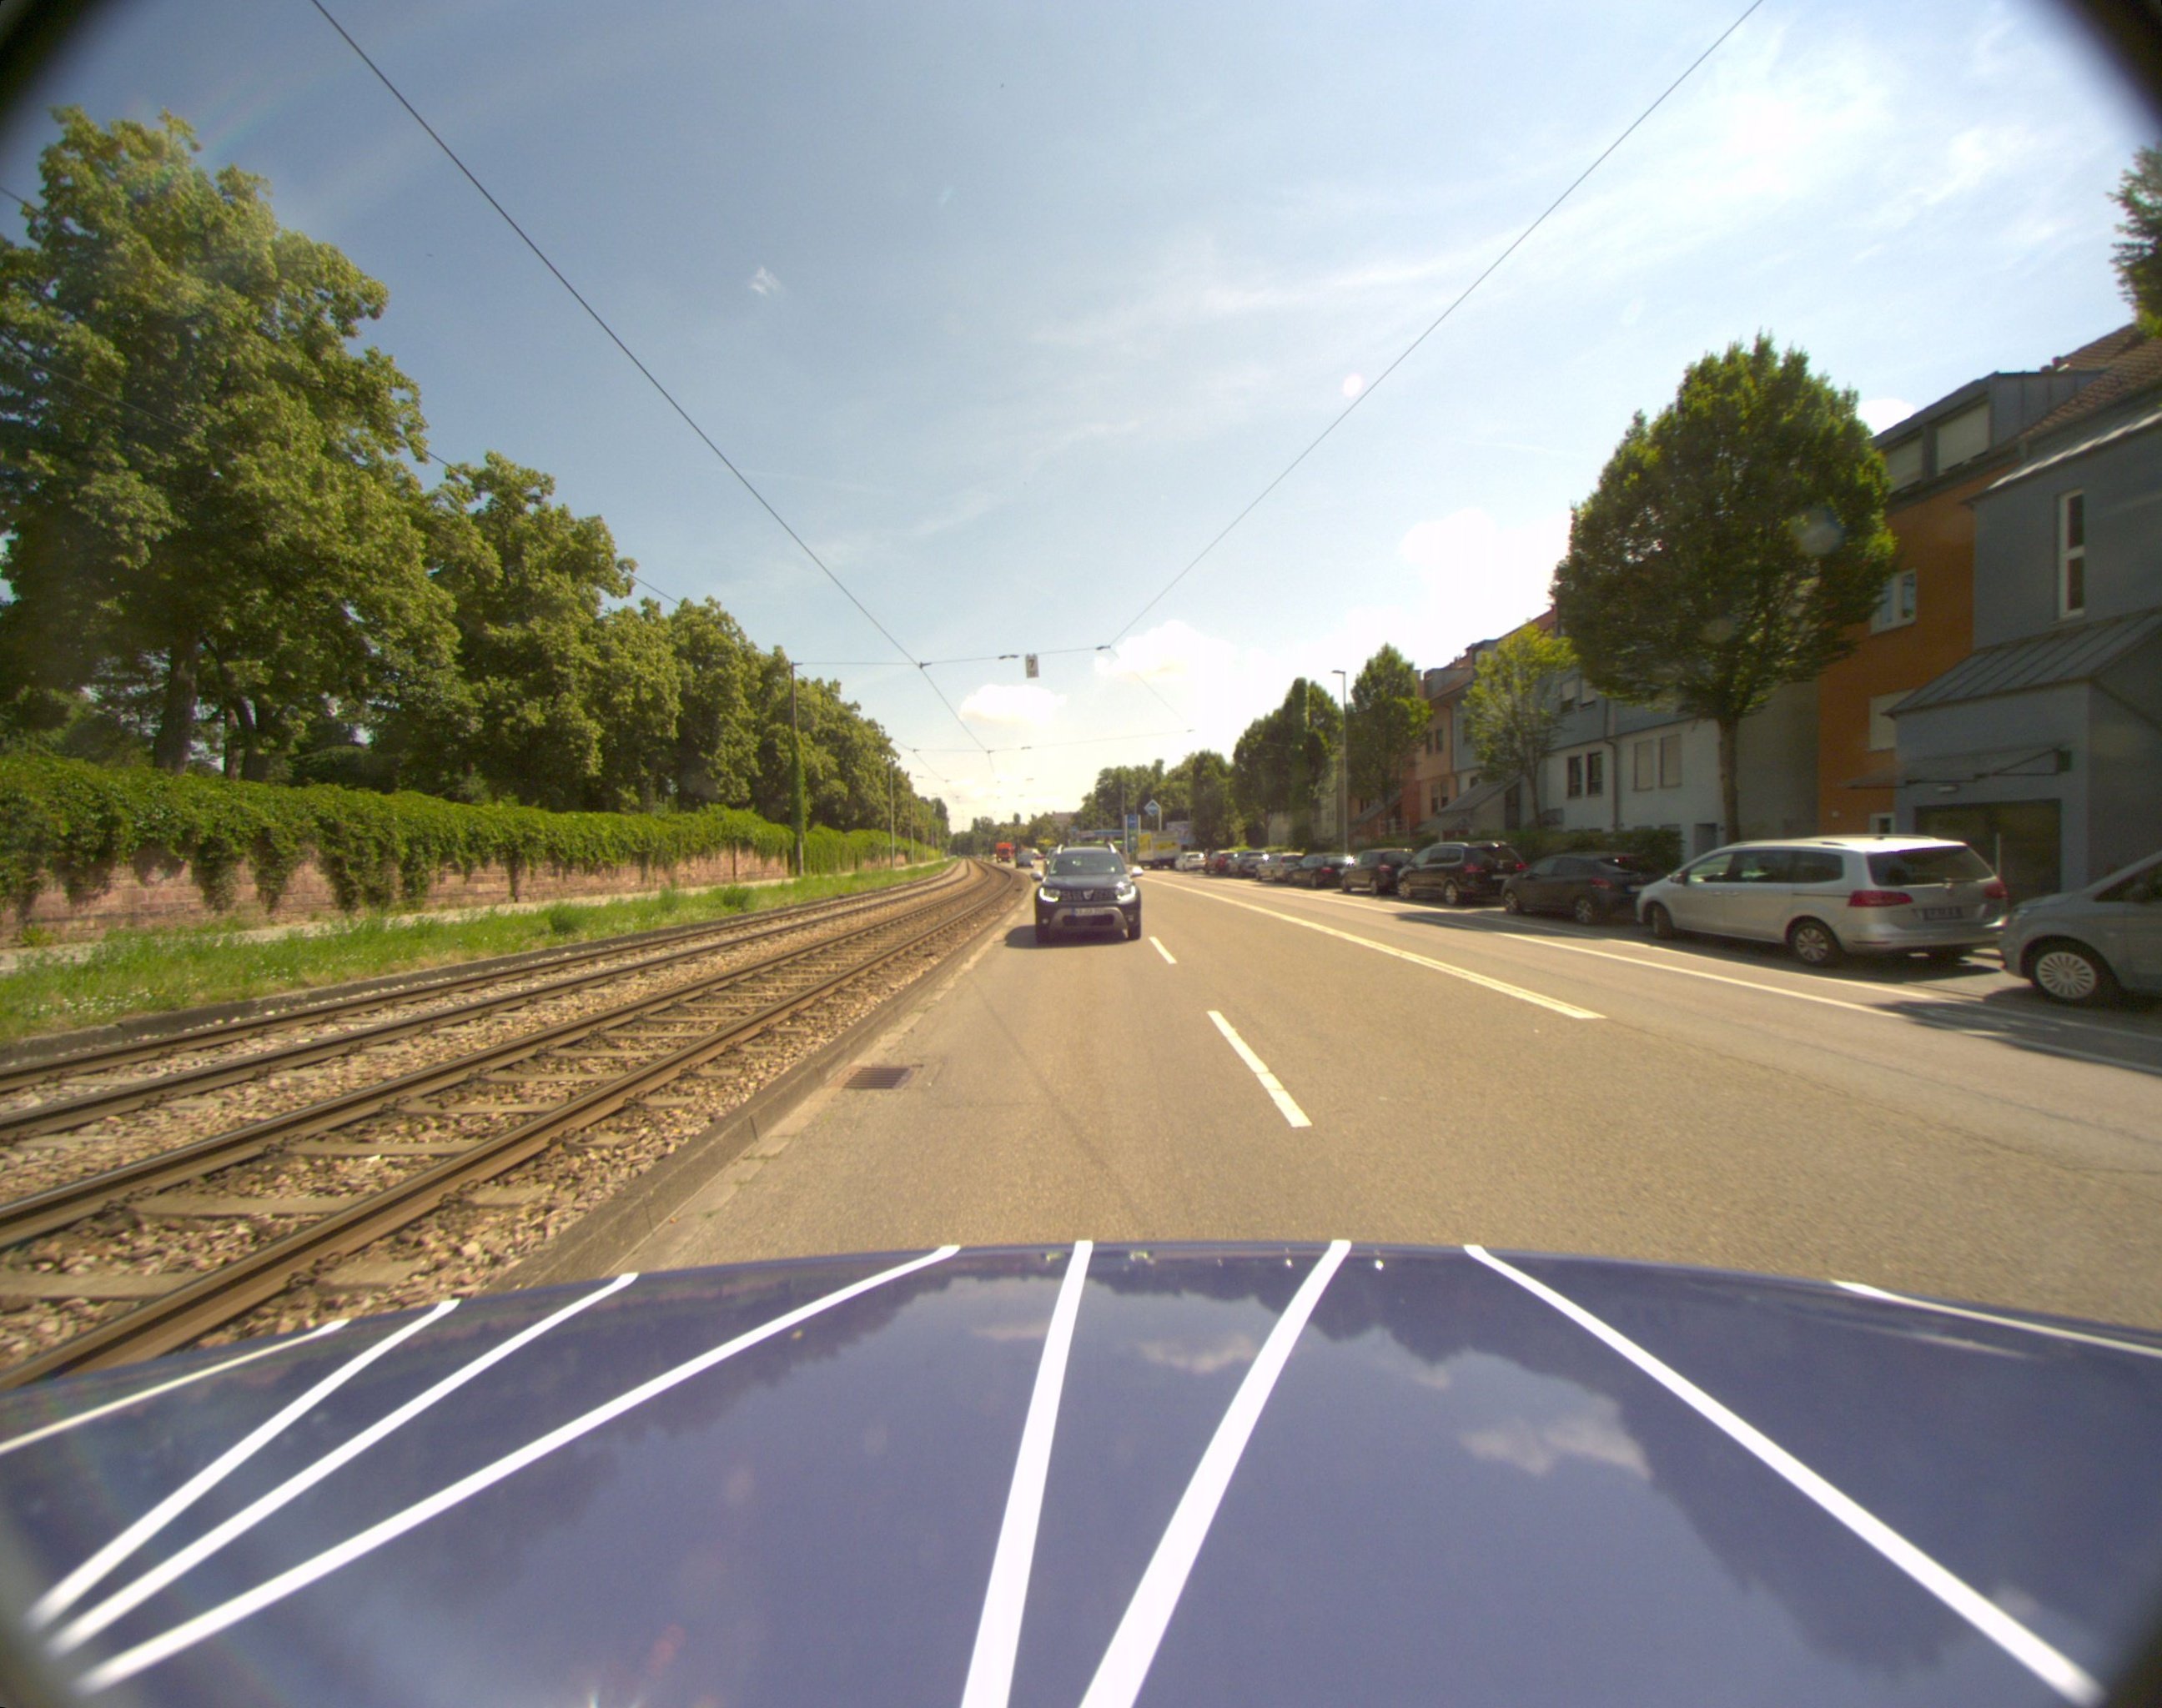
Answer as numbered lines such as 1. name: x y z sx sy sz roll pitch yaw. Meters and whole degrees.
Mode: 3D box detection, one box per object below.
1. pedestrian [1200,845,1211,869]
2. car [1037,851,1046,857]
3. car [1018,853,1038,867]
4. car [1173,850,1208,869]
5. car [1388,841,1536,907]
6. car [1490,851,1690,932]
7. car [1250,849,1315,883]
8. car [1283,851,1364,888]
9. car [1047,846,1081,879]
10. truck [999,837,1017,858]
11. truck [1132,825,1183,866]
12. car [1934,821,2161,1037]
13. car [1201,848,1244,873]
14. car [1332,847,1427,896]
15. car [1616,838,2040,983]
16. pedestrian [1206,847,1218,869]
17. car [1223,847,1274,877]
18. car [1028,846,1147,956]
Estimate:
1. pedestrian: 10.263 0.246 62.681 0.642 1.911 0.710 0 1 36
2. car: -9.876 0.022 189.335 2.000 1.379 3.998 -1 0 -6
3. car: -5.595 0.651 79.486 1.999 1.346 3.998 2 1 -5
4. car: 8.516 0.432 59.397 1.661 1.402 4.394 -1 0 -7
5. car: 10.910 0.504 22.228 1.755 1.706 4.887 -1 0 -2
6. car: 10.959 0.712 16.765 1.602 1.463 4.085 -1 2 -2
7. car: 10.427 0.570 39.670 1.660 1.500 4.893 -4 1 -5
8. car: 10.587 0.620 33.622 1.746 1.438 4.962 -2 1 -3
9. car: -0.963 0.444 42.021 1.802 1.683 4.143 -1 1 -2
10. truck: -13.028 -1.142 135.283 2.847 3.575 8.699 -1 1 -7
11. truck: 7.075 -0.745 71.280 2.840 3.528 8.165 -3 1 -7
12. car: 10.768 0.682 6.090 1.811 1.884 5.362 -5 0 1
13. car: 9.455 0.387 51.111 1.661 1.600 4.170 -1 1 -7
14. car: 10.782 0.563 27.766 1.660 1.608 4.284 0 1 -2
15. car: 10.774 0.673 11.662 1.721 1.742 4.903 -1 0 0
16. pedestrian: 10.674 0.296 62.009 0.685 1.784 0.702 -1 1 -34
17. car: 9.849 0.454 45.012 1.660 1.600 4.685 -3 0 -4
18. car: 0.026 0.716 14.356 1.802 1.652 4.786 -2 1 -2
